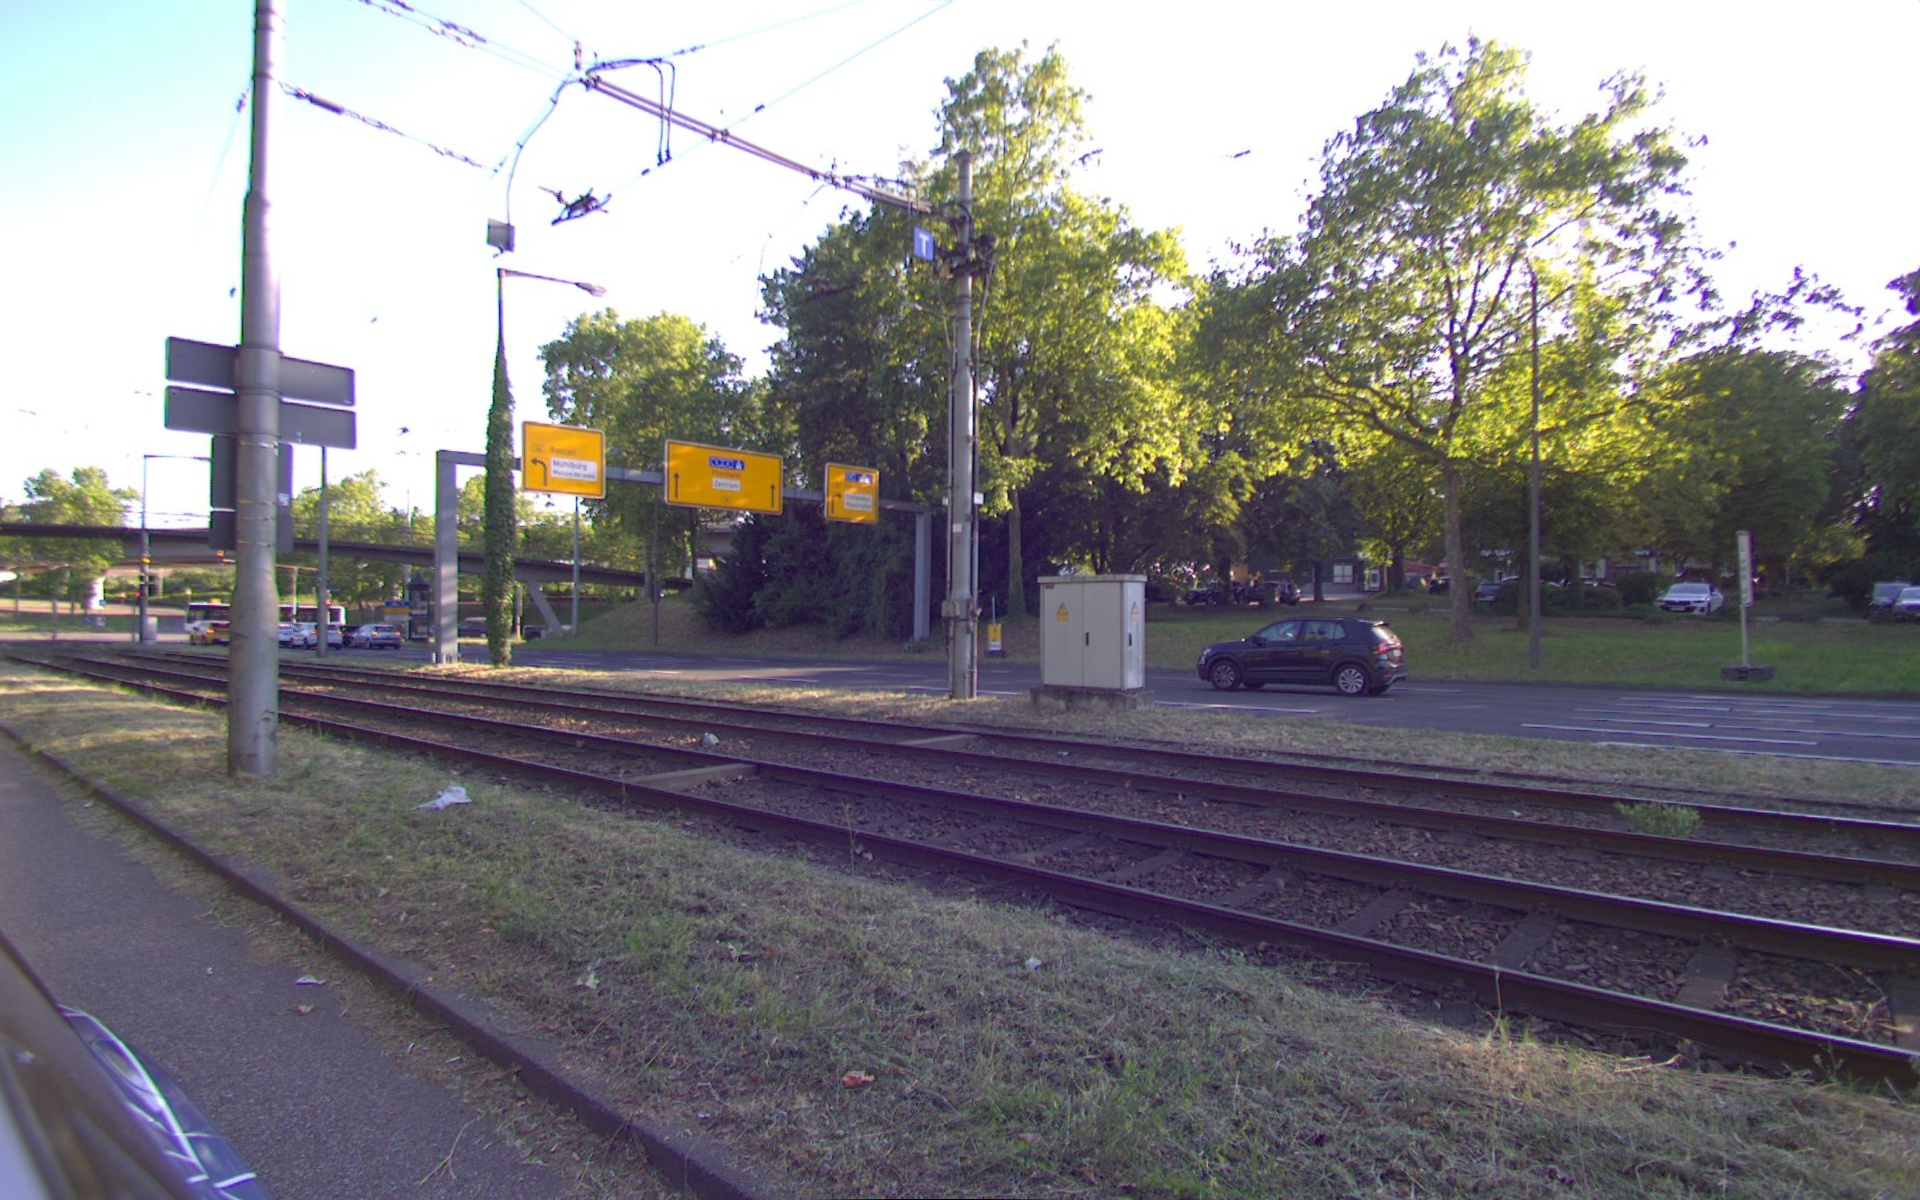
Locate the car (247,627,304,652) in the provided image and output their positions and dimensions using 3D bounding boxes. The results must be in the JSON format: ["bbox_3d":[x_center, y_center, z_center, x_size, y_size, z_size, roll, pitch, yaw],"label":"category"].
[{"bbox_3d":[-40.566,2.323,59.945,4.226,1.435,1.893,-1,-1,42],"label":"car"}]

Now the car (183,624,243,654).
[{"bbox_3d":[-40.796,2.112,55.246,3.997,1.556,1.744,-1,-1,40],"label":"car"}]

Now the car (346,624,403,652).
[{"bbox_3d":[-34.954,2.241,60.404,3.998,1.556,1.789,-1,-1,41],"label":"car"}]

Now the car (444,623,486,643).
[{"bbox_3d":[-50.807,3.362,103.915,3.748,1.872,1.682,-1,0,-30],"label":"car"}]

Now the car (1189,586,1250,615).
[{"bbox_3d":[15.404,0.048,59.946,1.791,1.657,3.942,-1,-1,44],"label":"car"}]

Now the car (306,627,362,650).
[{"bbox_3d":[-39.754,2.422,64.219,4.224,1.435,1.844,-1,-1,40],"label":"car"}]

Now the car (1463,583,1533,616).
[{"bbox_3d":[26.178,-0.056,49.175,1.942,1.521,4.039,0,0,44],"label":"car"}]

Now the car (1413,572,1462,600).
[{"bbox_3d":[33.565,-1.010,71.050,2.290,1.864,5.214,-1,1,34],"label":"car"}]

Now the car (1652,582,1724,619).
[{"bbox_3d":[31.570,-0.008,43.833,1.942,1.521,4.039,0,0,44],"label":"car"}]

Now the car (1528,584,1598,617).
[{"bbox_3d":[28.434,0.004,47.646,1.942,1.521,4.039,0,0,44],"label":"car"}]

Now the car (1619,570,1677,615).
[{"bbox_3d":[36.894,-0.413,54.228,2.161,2.320,4.348,0,0,40],"label":"car"}]

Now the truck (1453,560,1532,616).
[{"bbox_3d":[31.751,-0.702,60.273,2.503,3.191,6.137,0,0,45],"label":"truck"}]

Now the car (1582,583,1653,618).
[{"bbox_3d":[30.043,-0.005,46.209,1.942,1.521,4.039,0,0,44],"label":"car"}]

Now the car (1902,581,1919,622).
[{"bbox_3d":[37.589,0.026,38.882,1.942,1.521,4.039,0,0,44],"label":"car"}]

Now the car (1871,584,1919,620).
[{"bbox_3d":[43.977,0.083,47.215,3.998,1.628,1.864,-1,0,-43],"label":"car"}]

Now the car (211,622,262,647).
[{"bbox_3d":[-45.829,2.170,64.034,4.228,1.561,1.892,-1,-2,44],"label":"car"}]

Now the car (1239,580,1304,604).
[{"bbox_3d":[19.939,-0.518,64.932,1.647,1.474,3.733,-1,1,-37],"label":"car"}]

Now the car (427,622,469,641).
[{"bbox_3d":[-53.839,3.297,106.381,3.832,1.872,1.682,-1,0,-30],"label":"car"}]

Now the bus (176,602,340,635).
[{"bbox_3d":[-68.392,1.730,99.097,12.967,2.884,2.424,-1,0,-29],"label":"bus"}]

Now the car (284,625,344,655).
[{"bbox_3d":[-35.732,2.193,55.946,3.997,1.556,1.744,-1,-1,40],"label":"car"}]

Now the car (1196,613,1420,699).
[{"bbox_3d":[6.985,1.091,20.476,3.965,1.569,1.736,-1,-2,36],"label":"car"}]

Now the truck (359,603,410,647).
[{"bbox_3d":[-40.295,1.726,70.758,2.248,2.901,6.895,0,-1,-37],"label":"truck"}]
